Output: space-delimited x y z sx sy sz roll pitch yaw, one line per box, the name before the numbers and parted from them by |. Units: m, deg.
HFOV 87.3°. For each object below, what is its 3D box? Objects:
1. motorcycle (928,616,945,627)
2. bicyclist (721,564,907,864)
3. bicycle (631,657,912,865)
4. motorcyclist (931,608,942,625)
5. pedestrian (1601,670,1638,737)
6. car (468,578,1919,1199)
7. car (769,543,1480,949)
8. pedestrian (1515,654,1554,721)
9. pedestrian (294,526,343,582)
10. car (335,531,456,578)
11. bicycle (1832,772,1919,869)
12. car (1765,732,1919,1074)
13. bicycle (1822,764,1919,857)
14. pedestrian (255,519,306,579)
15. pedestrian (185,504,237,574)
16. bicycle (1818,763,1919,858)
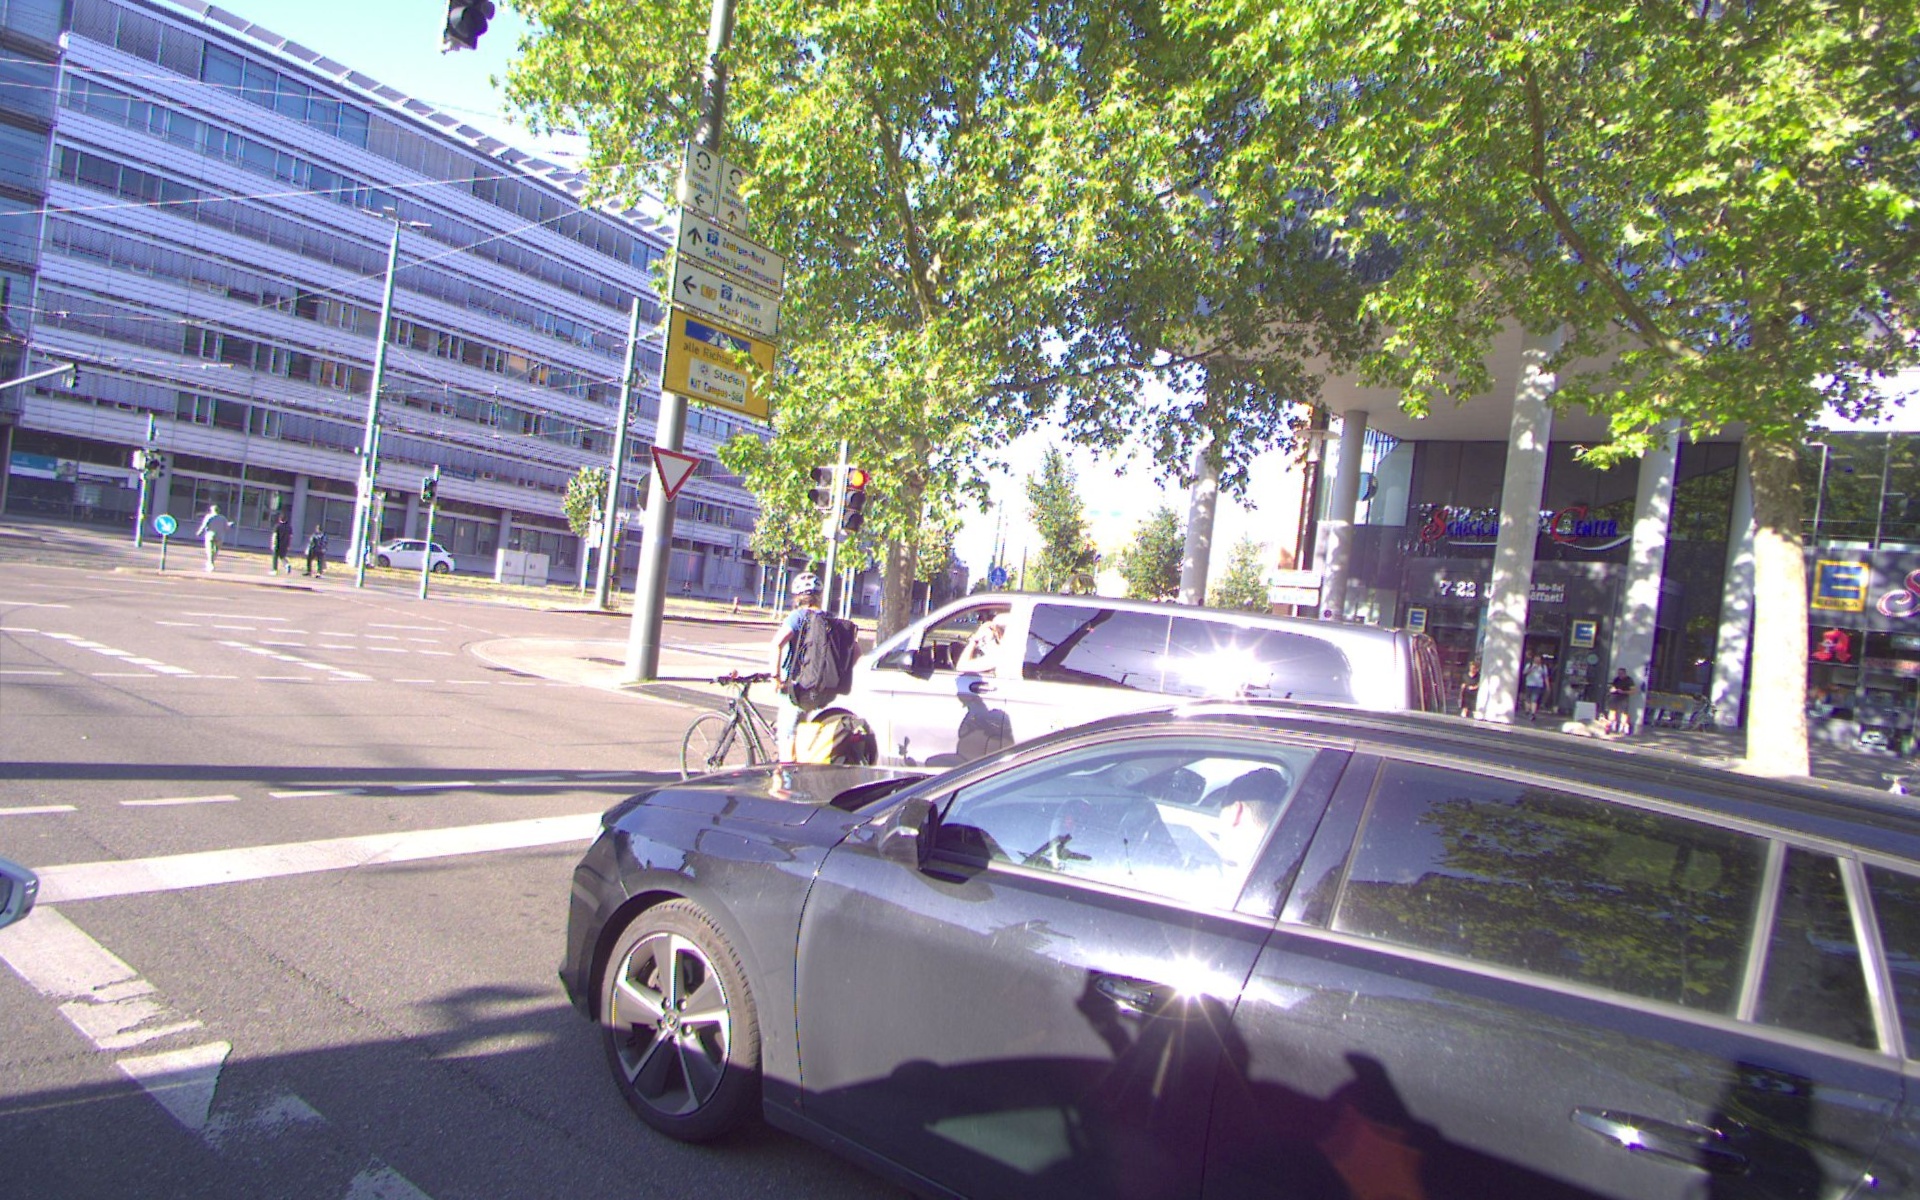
motorcycle | -1.954 1.773 83.564 0.460 0.820 1.568 7 0 36
bicyclist | -0.920 0.688 6.374 0.766 1.714 0.632 7 1 32
bicycle | -1.283 0.999 6.648 1.839 0.993 0.561 7 1 32
motorcyclist | -1.916 1.365 83.555 0.452 1.291 0.712 7 1 36
pedestrian | 17.589 2.749 26.829 0.598 1.707 0.511 6 1 -41
car | 0.793 0.935 2.738 4.199 1.431 1.742 7 -2 32
car | 1.125 0.844 7.951 5.012 2.004 1.939 7 0 31
pedestrian | 16.400 2.494 28.717 0.595 1.805 0.882 7 1 43
pedestrian | -20.244 -1.449 31.730 0.883 1.583 0.947 7 1 39
car | -25.123 -2.007 44.902 1.734 1.506 4.295 7 0 37
bicycle | 10.531 2.476 11.104 1.233 0.898 0.462 7 1 32
car | 6.561 1.738 4.577 4.181 1.503 1.741 7 0 31
bicycle | 11.488 2.605 12.362 0.460 0.938 1.210 6 0 -39
pedestrian | -20.975 -1.576 31.057 1.020 1.706 0.912 7 1 39
pedestrian | -21.098 -1.718 28.329 0.859 1.811 0.863 7 1 39
bicycle | 11.190 2.542 12.090 0.437 0.930 1.210 6 0 -39
